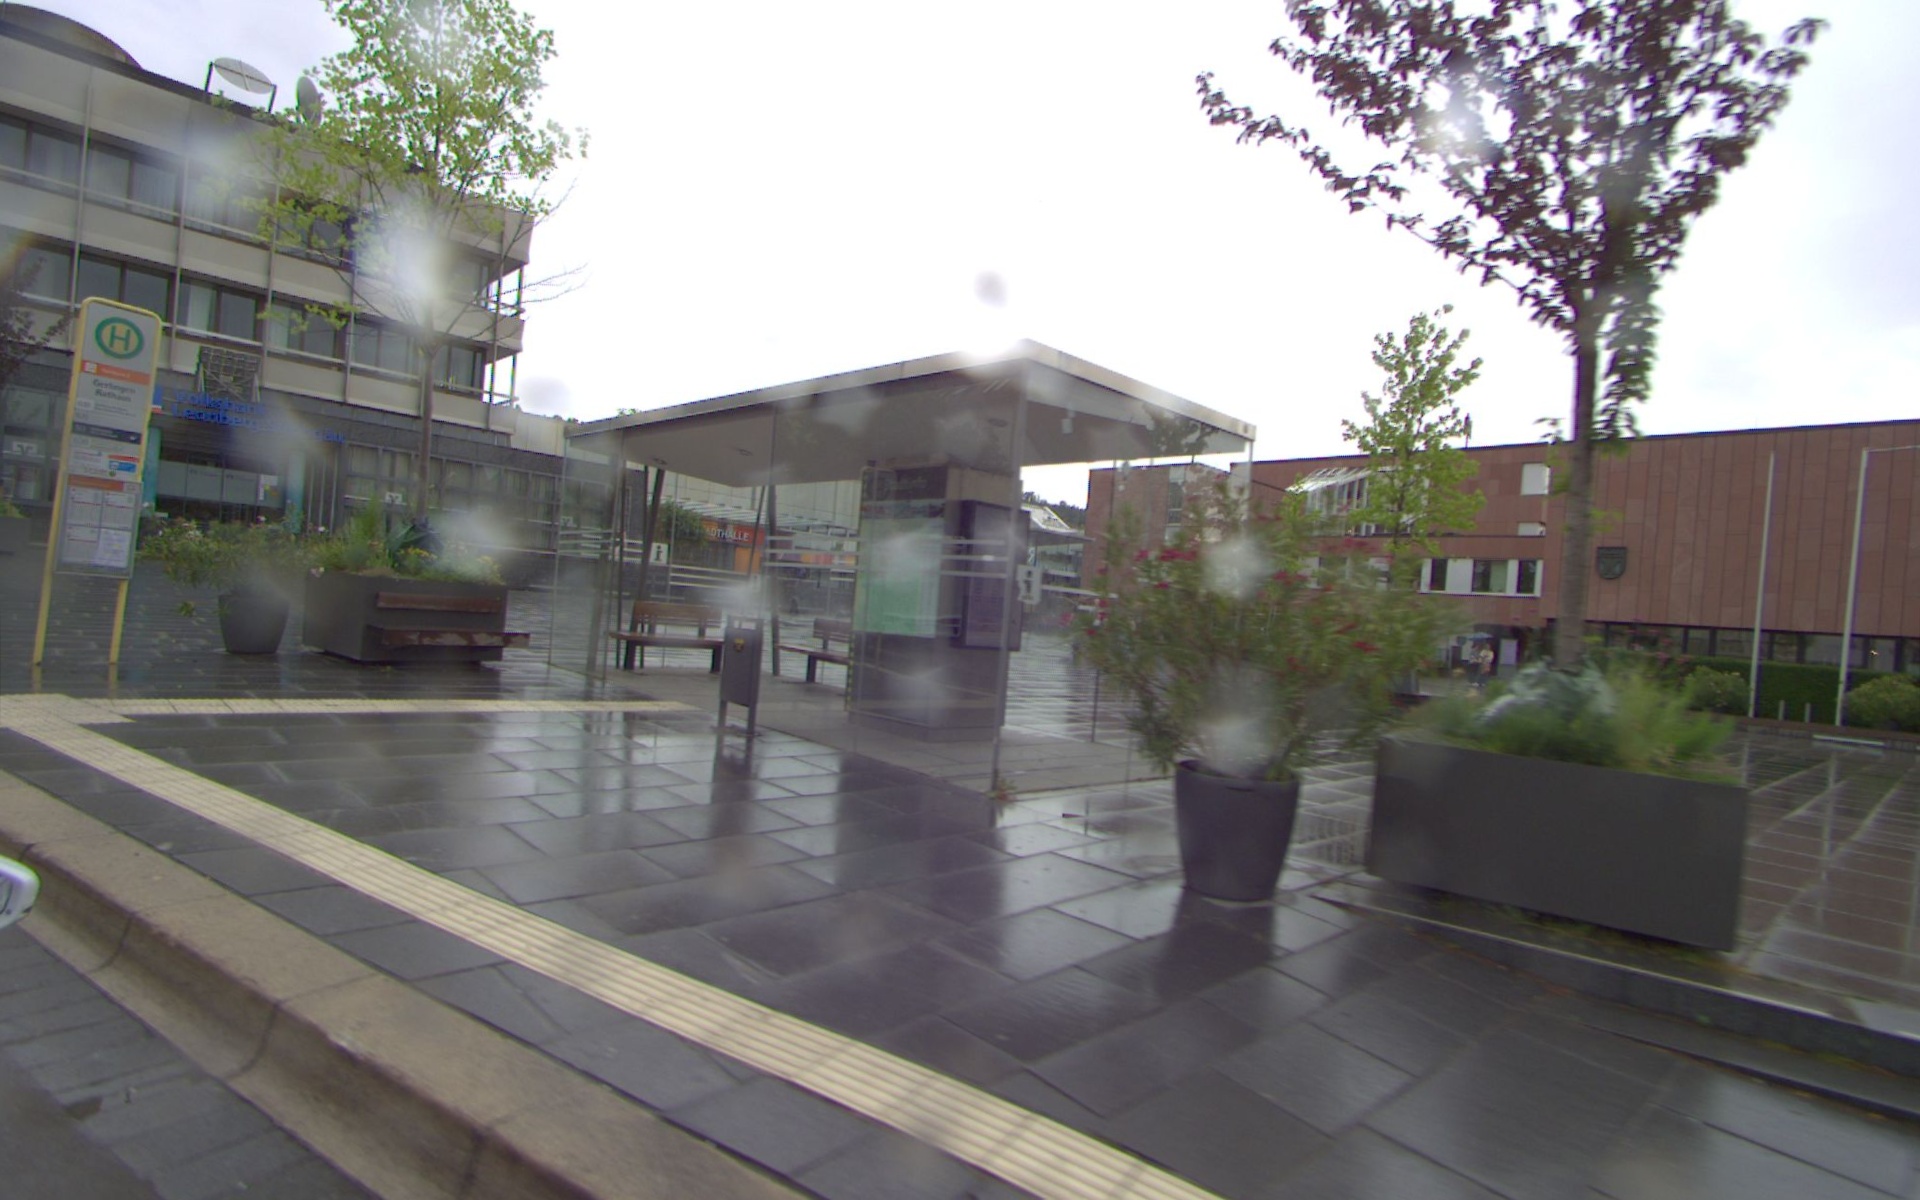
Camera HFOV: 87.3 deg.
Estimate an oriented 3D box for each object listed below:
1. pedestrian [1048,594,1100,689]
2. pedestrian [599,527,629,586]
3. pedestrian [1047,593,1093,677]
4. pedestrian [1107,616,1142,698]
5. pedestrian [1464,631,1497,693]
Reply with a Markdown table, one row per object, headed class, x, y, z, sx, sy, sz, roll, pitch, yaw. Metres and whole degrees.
| class | x | y | z | sx | sy | sz | roll | pitch | yaw |
| --- | --- | --- | --- | --- | --- | --- | --- | --- | --- |
| pedestrian | 3.394 | 1.242 | 29.933 | 1.048 | 2.719 | 0.823 | 3 | 2 | -39 |
| pedestrian | -13.134 | -1.652 | 38.201 | 0.754 | 2.175 | 0.652 | 3 | 2 | -39 |
| pedestrian | 3.374 | 1.077 | 30.823 | 0.936 | 2.471 | 0.768 | 3 | 2 | -42 |
| pedestrian | 5.083 | 1.762 | 31.075 | 0.731 | 2.471 | 0.562 | 3 | 2 | -44 |
| pedestrian | 20.547 | 2.449 | 39.715 | 0.789 | 2.338 | 0.898 | 6 | 2 | 42 |
